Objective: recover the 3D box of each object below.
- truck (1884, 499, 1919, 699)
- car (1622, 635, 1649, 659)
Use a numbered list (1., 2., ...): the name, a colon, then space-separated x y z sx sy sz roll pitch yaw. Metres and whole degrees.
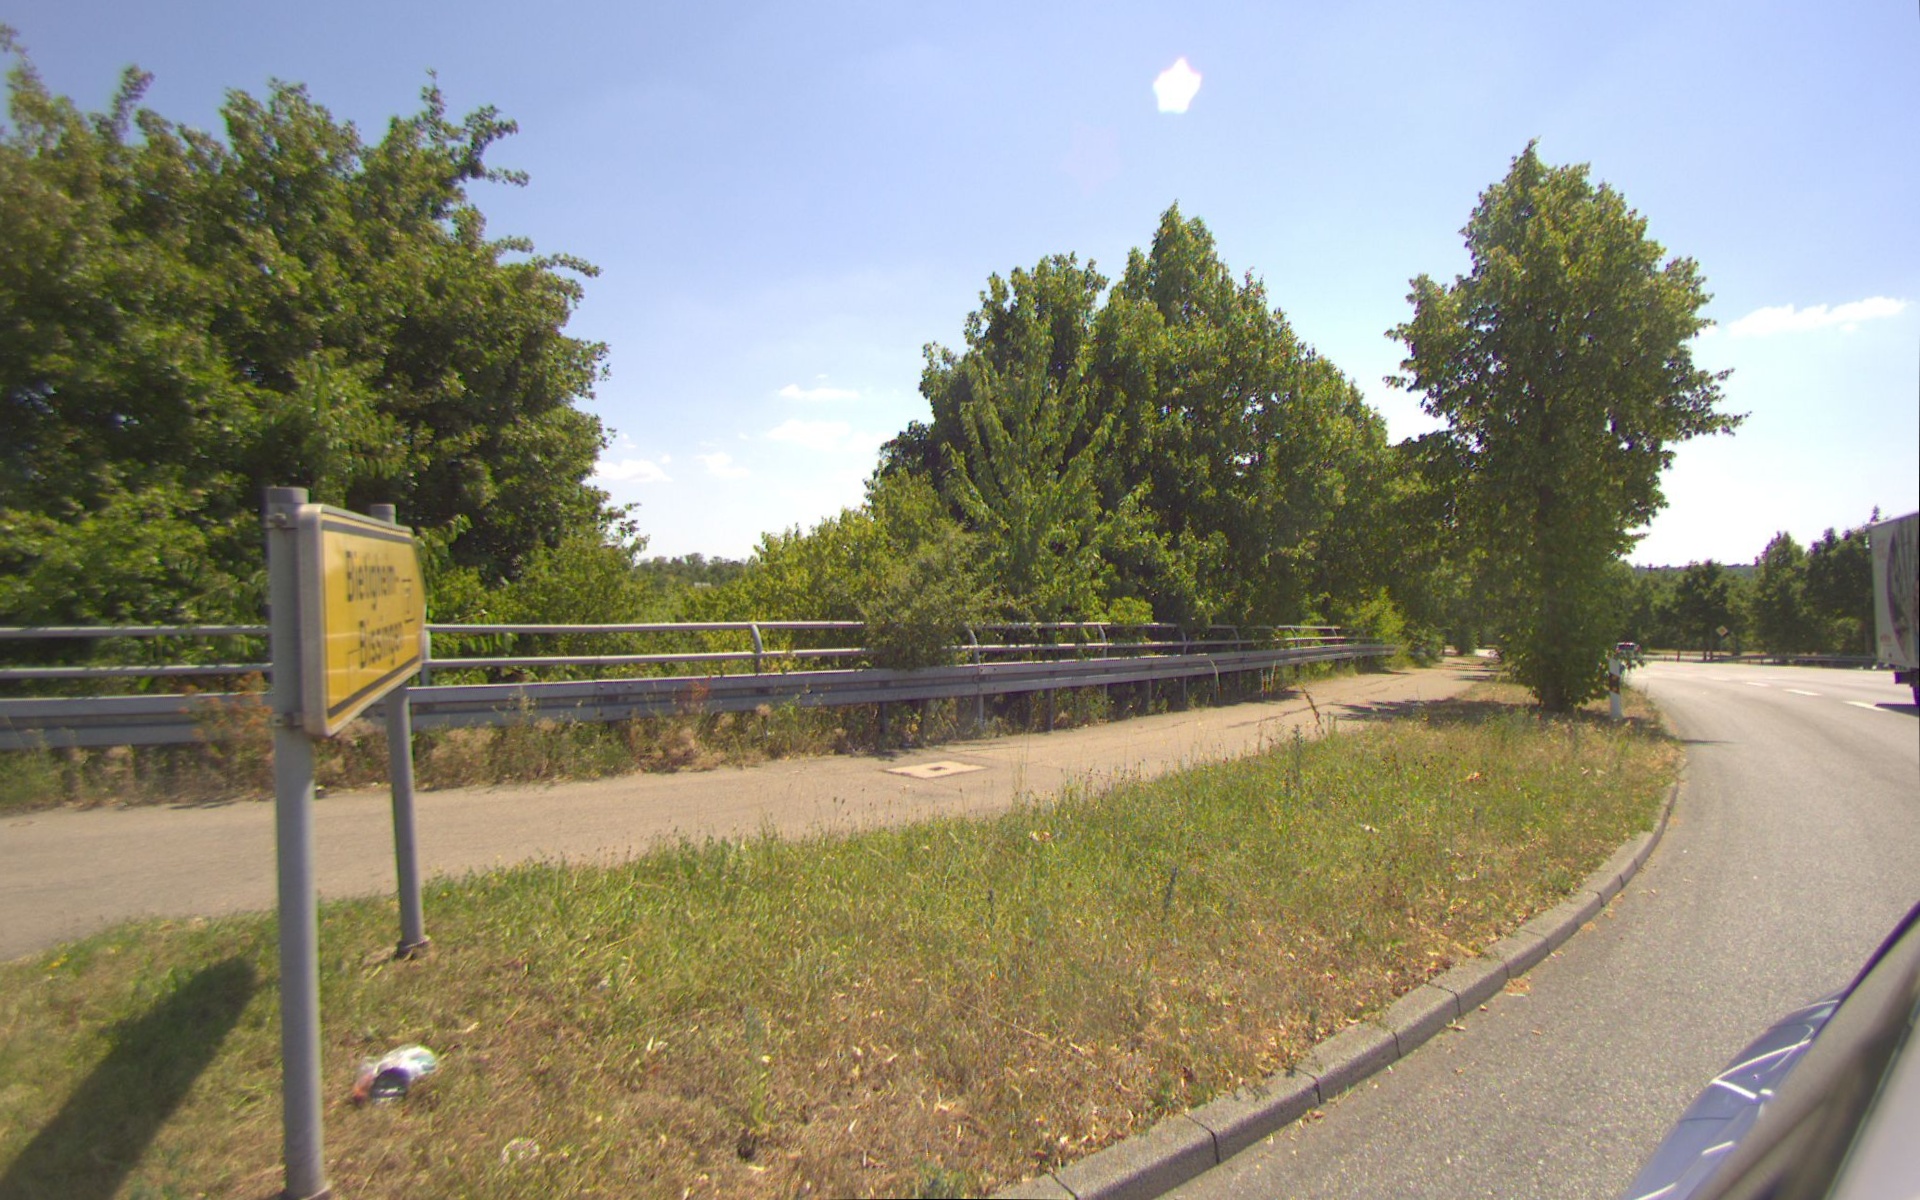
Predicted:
1. truck: 16.689 -0.054 15.535 2.397 3.391 7.117 -1 -2 32
2. car: 63.185 4.385 94.665 1.985 1.985 3.953 0 0 33
